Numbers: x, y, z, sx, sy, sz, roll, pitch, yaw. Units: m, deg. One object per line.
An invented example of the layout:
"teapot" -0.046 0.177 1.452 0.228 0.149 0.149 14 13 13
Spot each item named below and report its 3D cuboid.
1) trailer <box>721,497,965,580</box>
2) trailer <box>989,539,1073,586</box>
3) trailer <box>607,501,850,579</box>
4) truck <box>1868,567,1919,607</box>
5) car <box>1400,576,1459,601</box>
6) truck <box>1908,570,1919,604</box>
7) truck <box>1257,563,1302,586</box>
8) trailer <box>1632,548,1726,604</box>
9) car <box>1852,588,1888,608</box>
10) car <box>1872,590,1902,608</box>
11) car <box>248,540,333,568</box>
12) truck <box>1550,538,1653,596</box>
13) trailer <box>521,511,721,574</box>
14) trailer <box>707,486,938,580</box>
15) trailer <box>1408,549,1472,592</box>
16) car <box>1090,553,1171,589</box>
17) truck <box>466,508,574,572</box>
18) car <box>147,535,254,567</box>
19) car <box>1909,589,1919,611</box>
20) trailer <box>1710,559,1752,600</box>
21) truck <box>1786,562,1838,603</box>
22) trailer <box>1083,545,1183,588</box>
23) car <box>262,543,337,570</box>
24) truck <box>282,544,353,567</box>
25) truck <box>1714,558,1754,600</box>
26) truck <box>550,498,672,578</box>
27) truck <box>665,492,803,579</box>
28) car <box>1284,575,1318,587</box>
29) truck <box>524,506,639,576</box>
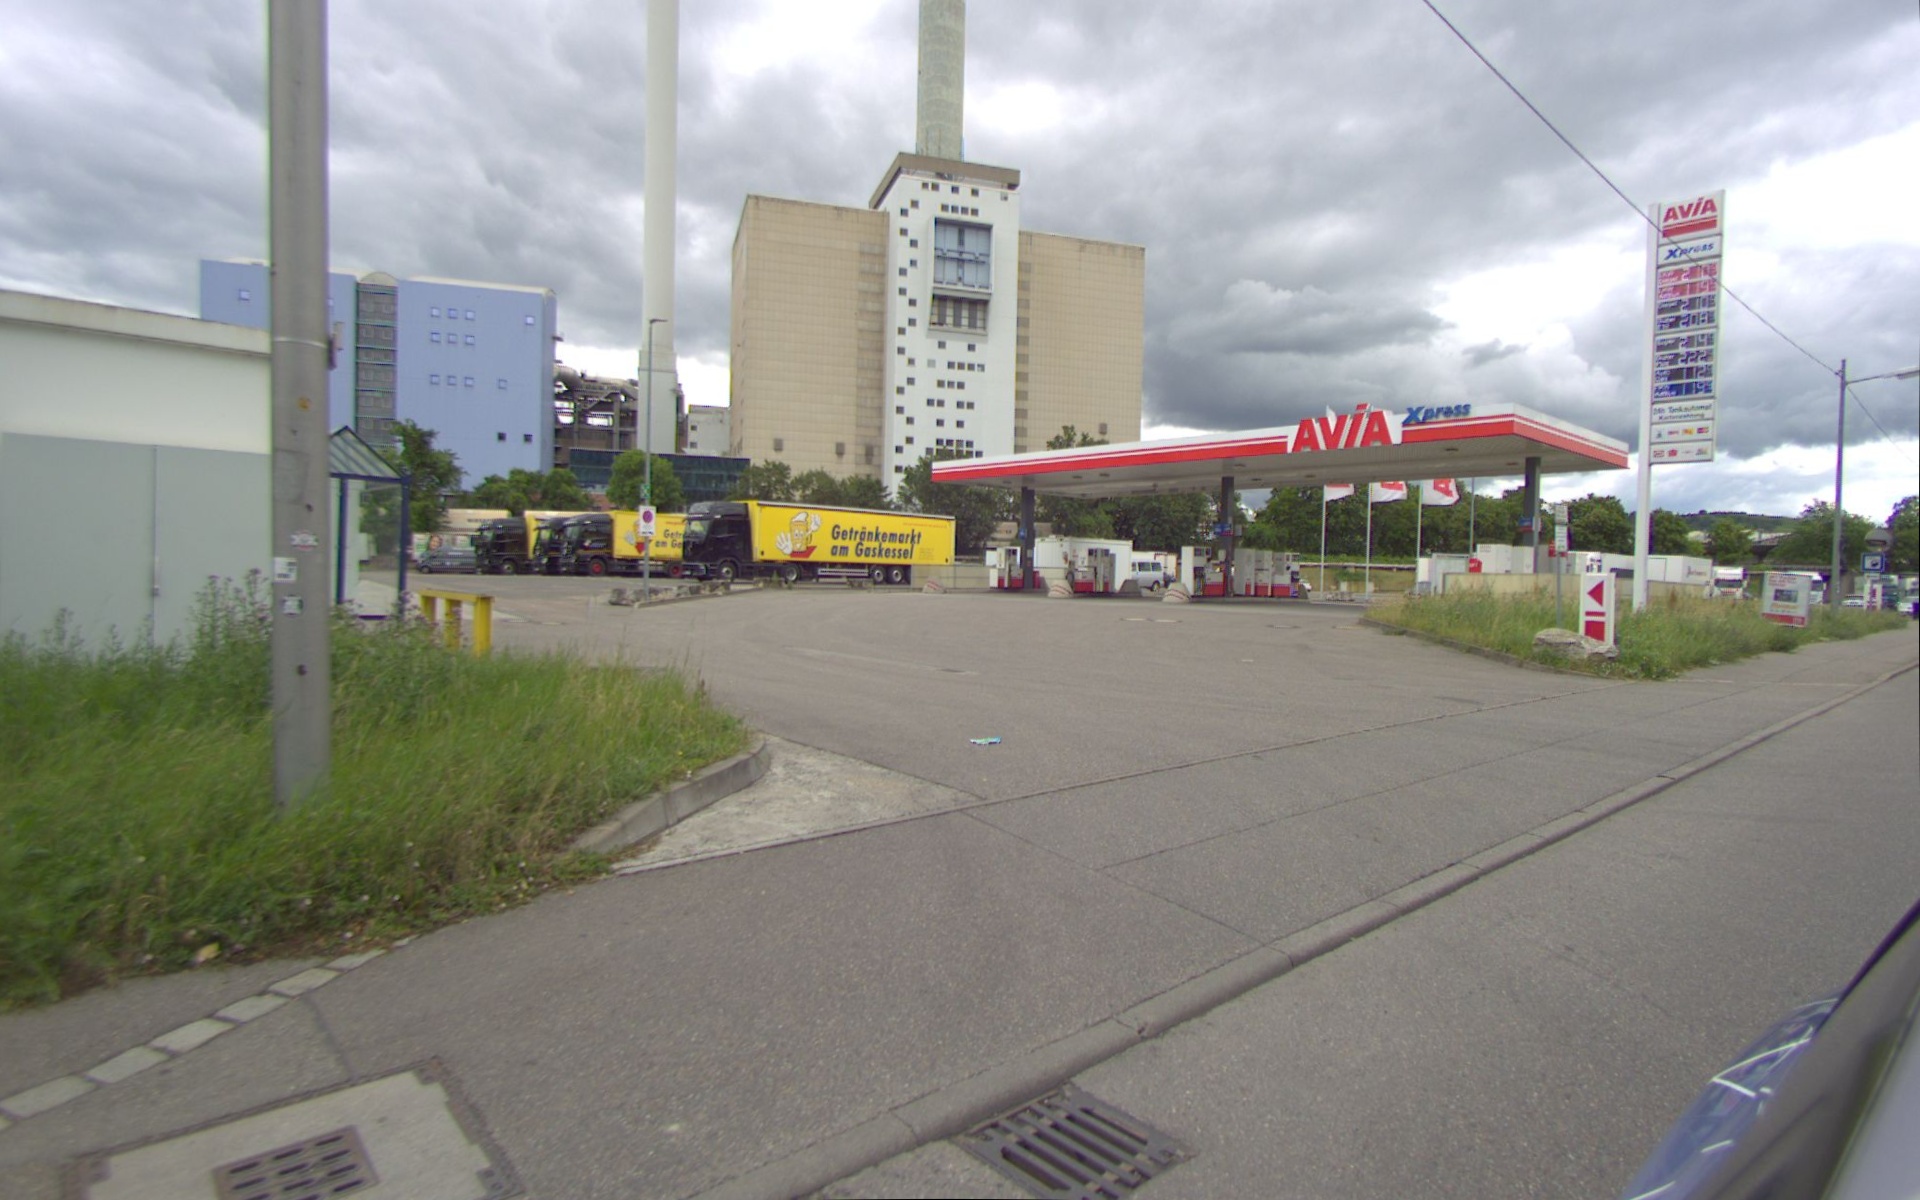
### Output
"trailer" -5.930 -3.145 54.960 14.059 3.963 3.004 0 3 -43
"trailer" 7.167 -3.915 107.476 3.484 4.556 18.331 0 2 -14
"trailer" -14.145 -3.599 63.937 15.458 4.313 3.025 0 3 -43
"truck" 102.450 -1.445 111.203 2.855 4.063 6.676 3 2 33
"car" 28.866 -0.690 62.160 4.143 1.407 1.768 0 4 -42
"truck" 107.445 -1.362 111.703 2.855 3.674 6.676 3 2 33
"truck" 38.586 -3.079 122.295 2.233 2.521 5.974 2 3 -15
"trailer" 55.175 -1.793 77.540 10.216 4.015 2.966 0 3 -39
"car" 74.893 -0.173 83.296 3.931 1.591 1.767 0 0 -42
"car" 84.823 -0.095 92.605 3.981 1.513 1.496 0 2 -40
"car" -43.511 -3.002 65.845 4.250 1.671 1.991 1 2 -20
"truck" 49.462 -2.454 77.766 12.842 4.015 3.081 0 4 -42
"trailer" -23.593 -3.945 71.442 13.457 3.963 2.694 0 3 -43
"trailer" -7.580 -3.657 58.730 14.059 4.781 3.004 0 3 -43
"trailer" 48.649 -2.887 102.266 3.619 3.959 13.567 2 2 35
"car" 9.948 -1.655 58.832 4.866 1.936 1.987 0 2 -42
"truck" -28.896 -3.886 66.551 5.938 3.963 2.694 0 2 -43
"car" -41.345 -2.680 55.218 4.275 1.613 1.899 1 2 -20
"car" 65.127 0.012 67.874 4.481 1.482 1.776 0 2 -42
"trailer" 84.339 -2.218 110.884 2.822 4.145 13.231 3 2 34
"truck" 92.023 -1.886 109.422 2.850 4.145 6.689 3 2 29
"trailer" 18.480 -3.689 110.457 3.566 4.224 18.543 1 2 -14
"car" -44.709 -2.959 68.558 3.945 1.671 1.829 1 2 -20
"truck" -59.652 -4.132 94.066 5.179 1.953 2.005 1 2 -19
"truck" 80.908 -2.169 105.888 2.856 4.145 6.673 3 2 35
"truck" -20.120 -3.513 58.435 5.938 4.315 3.048 0 2 -43
"truck" -11.143 -3.099 50.137 5.938 3.963 2.961 0 2 -43
"car" 41.081 -2.333 122.050 1.958 1.371 4.158 1 2 -15
"truck" -22.858 -3.517 61.256 5.938 3.963 2.694 0 2 -43
